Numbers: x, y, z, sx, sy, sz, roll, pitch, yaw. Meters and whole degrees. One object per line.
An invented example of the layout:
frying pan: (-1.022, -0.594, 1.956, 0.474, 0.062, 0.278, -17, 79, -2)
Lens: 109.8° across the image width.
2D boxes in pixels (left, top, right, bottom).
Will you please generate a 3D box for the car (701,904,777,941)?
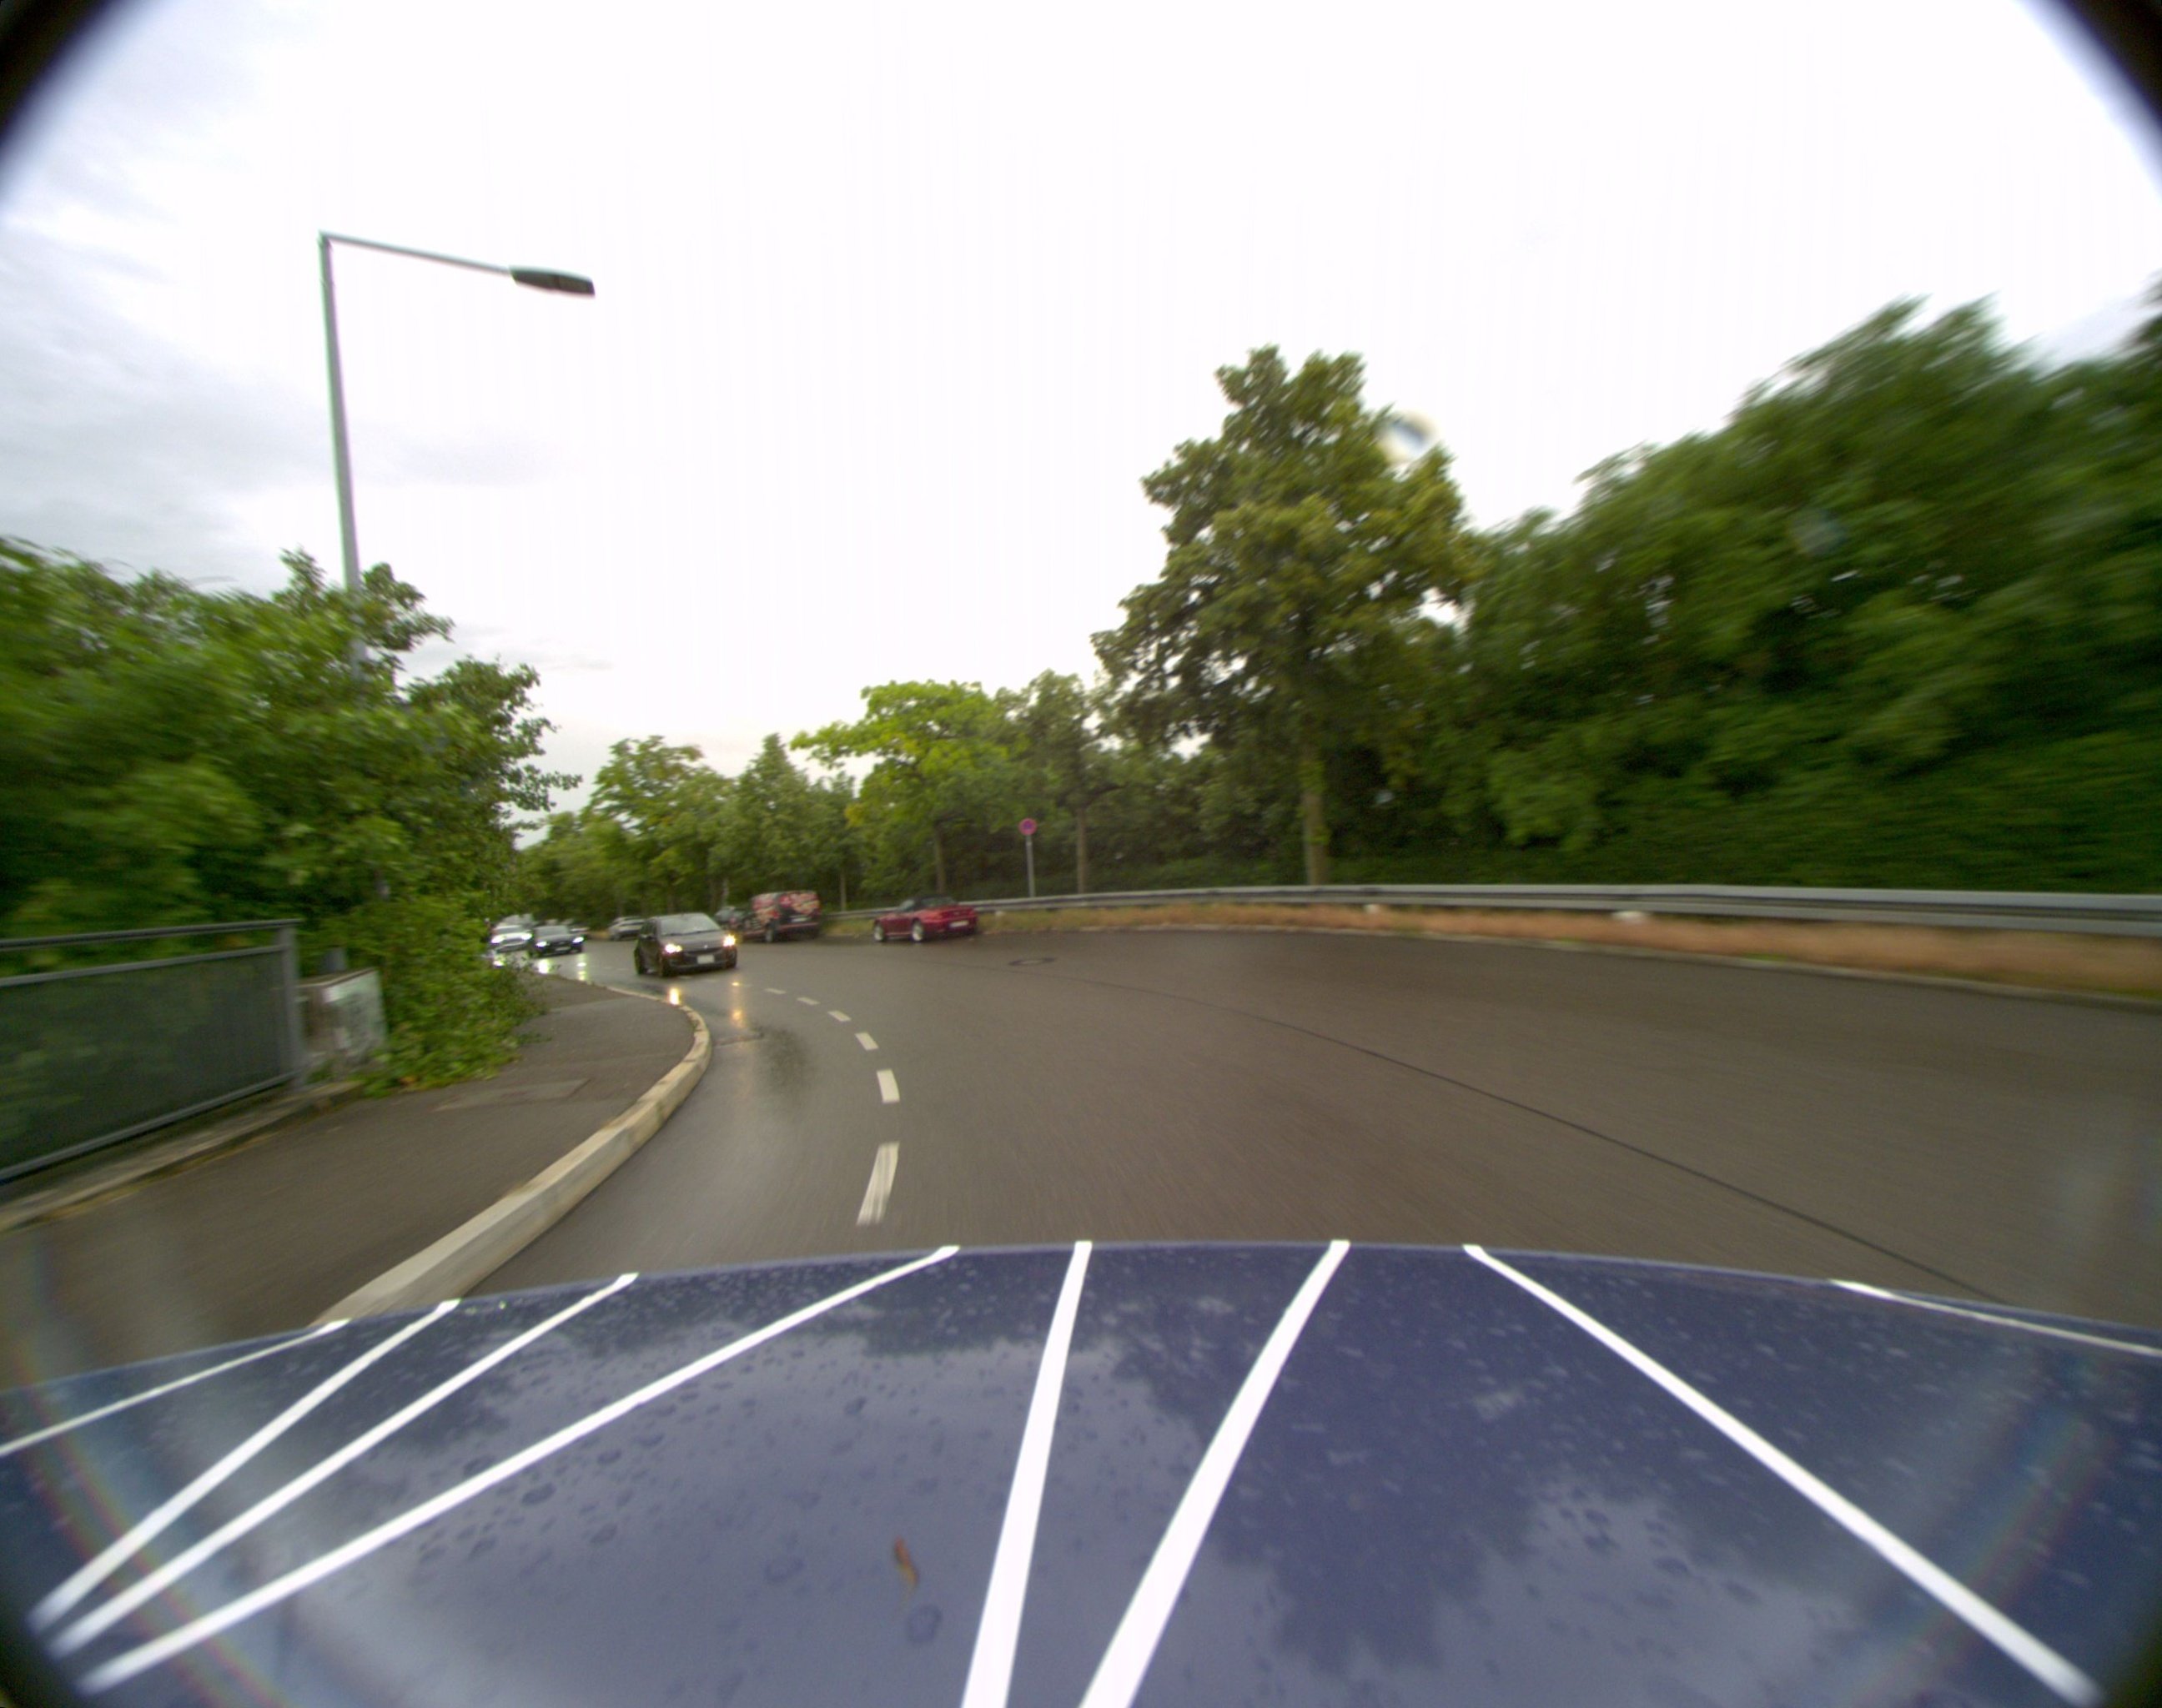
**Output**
car: (-15.715, 3.129, 34.854, 1.806, 1.429, 4.246, -4, -1, -43)

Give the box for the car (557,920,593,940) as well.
car: (-42.169, 6.297, 63.270, 1.763, 1.394, 4.409, -4, -1, -42)

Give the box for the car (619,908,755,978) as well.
car: (-10.072, 2.247, 19.252, 1.809, 1.418, 4.373, -3, -3, -44)

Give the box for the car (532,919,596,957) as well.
car: (-25.106, 4.013, 36.864, 2.035, 1.454, 3.991, -6, 0, -40)

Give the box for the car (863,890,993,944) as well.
car: (-4.585, 1.833, 22.267, 1.798, 1.289, 4.316, -4, -1, -40)

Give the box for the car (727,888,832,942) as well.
car: (-12.271, 2.474, 30.688, 2.094, 1.808, 5.368, -4, -1, -42)

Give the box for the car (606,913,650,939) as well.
car: (-29.352, 4.635, 49.223, 1.697, 1.429, 4.246, -4, -1, -40)
